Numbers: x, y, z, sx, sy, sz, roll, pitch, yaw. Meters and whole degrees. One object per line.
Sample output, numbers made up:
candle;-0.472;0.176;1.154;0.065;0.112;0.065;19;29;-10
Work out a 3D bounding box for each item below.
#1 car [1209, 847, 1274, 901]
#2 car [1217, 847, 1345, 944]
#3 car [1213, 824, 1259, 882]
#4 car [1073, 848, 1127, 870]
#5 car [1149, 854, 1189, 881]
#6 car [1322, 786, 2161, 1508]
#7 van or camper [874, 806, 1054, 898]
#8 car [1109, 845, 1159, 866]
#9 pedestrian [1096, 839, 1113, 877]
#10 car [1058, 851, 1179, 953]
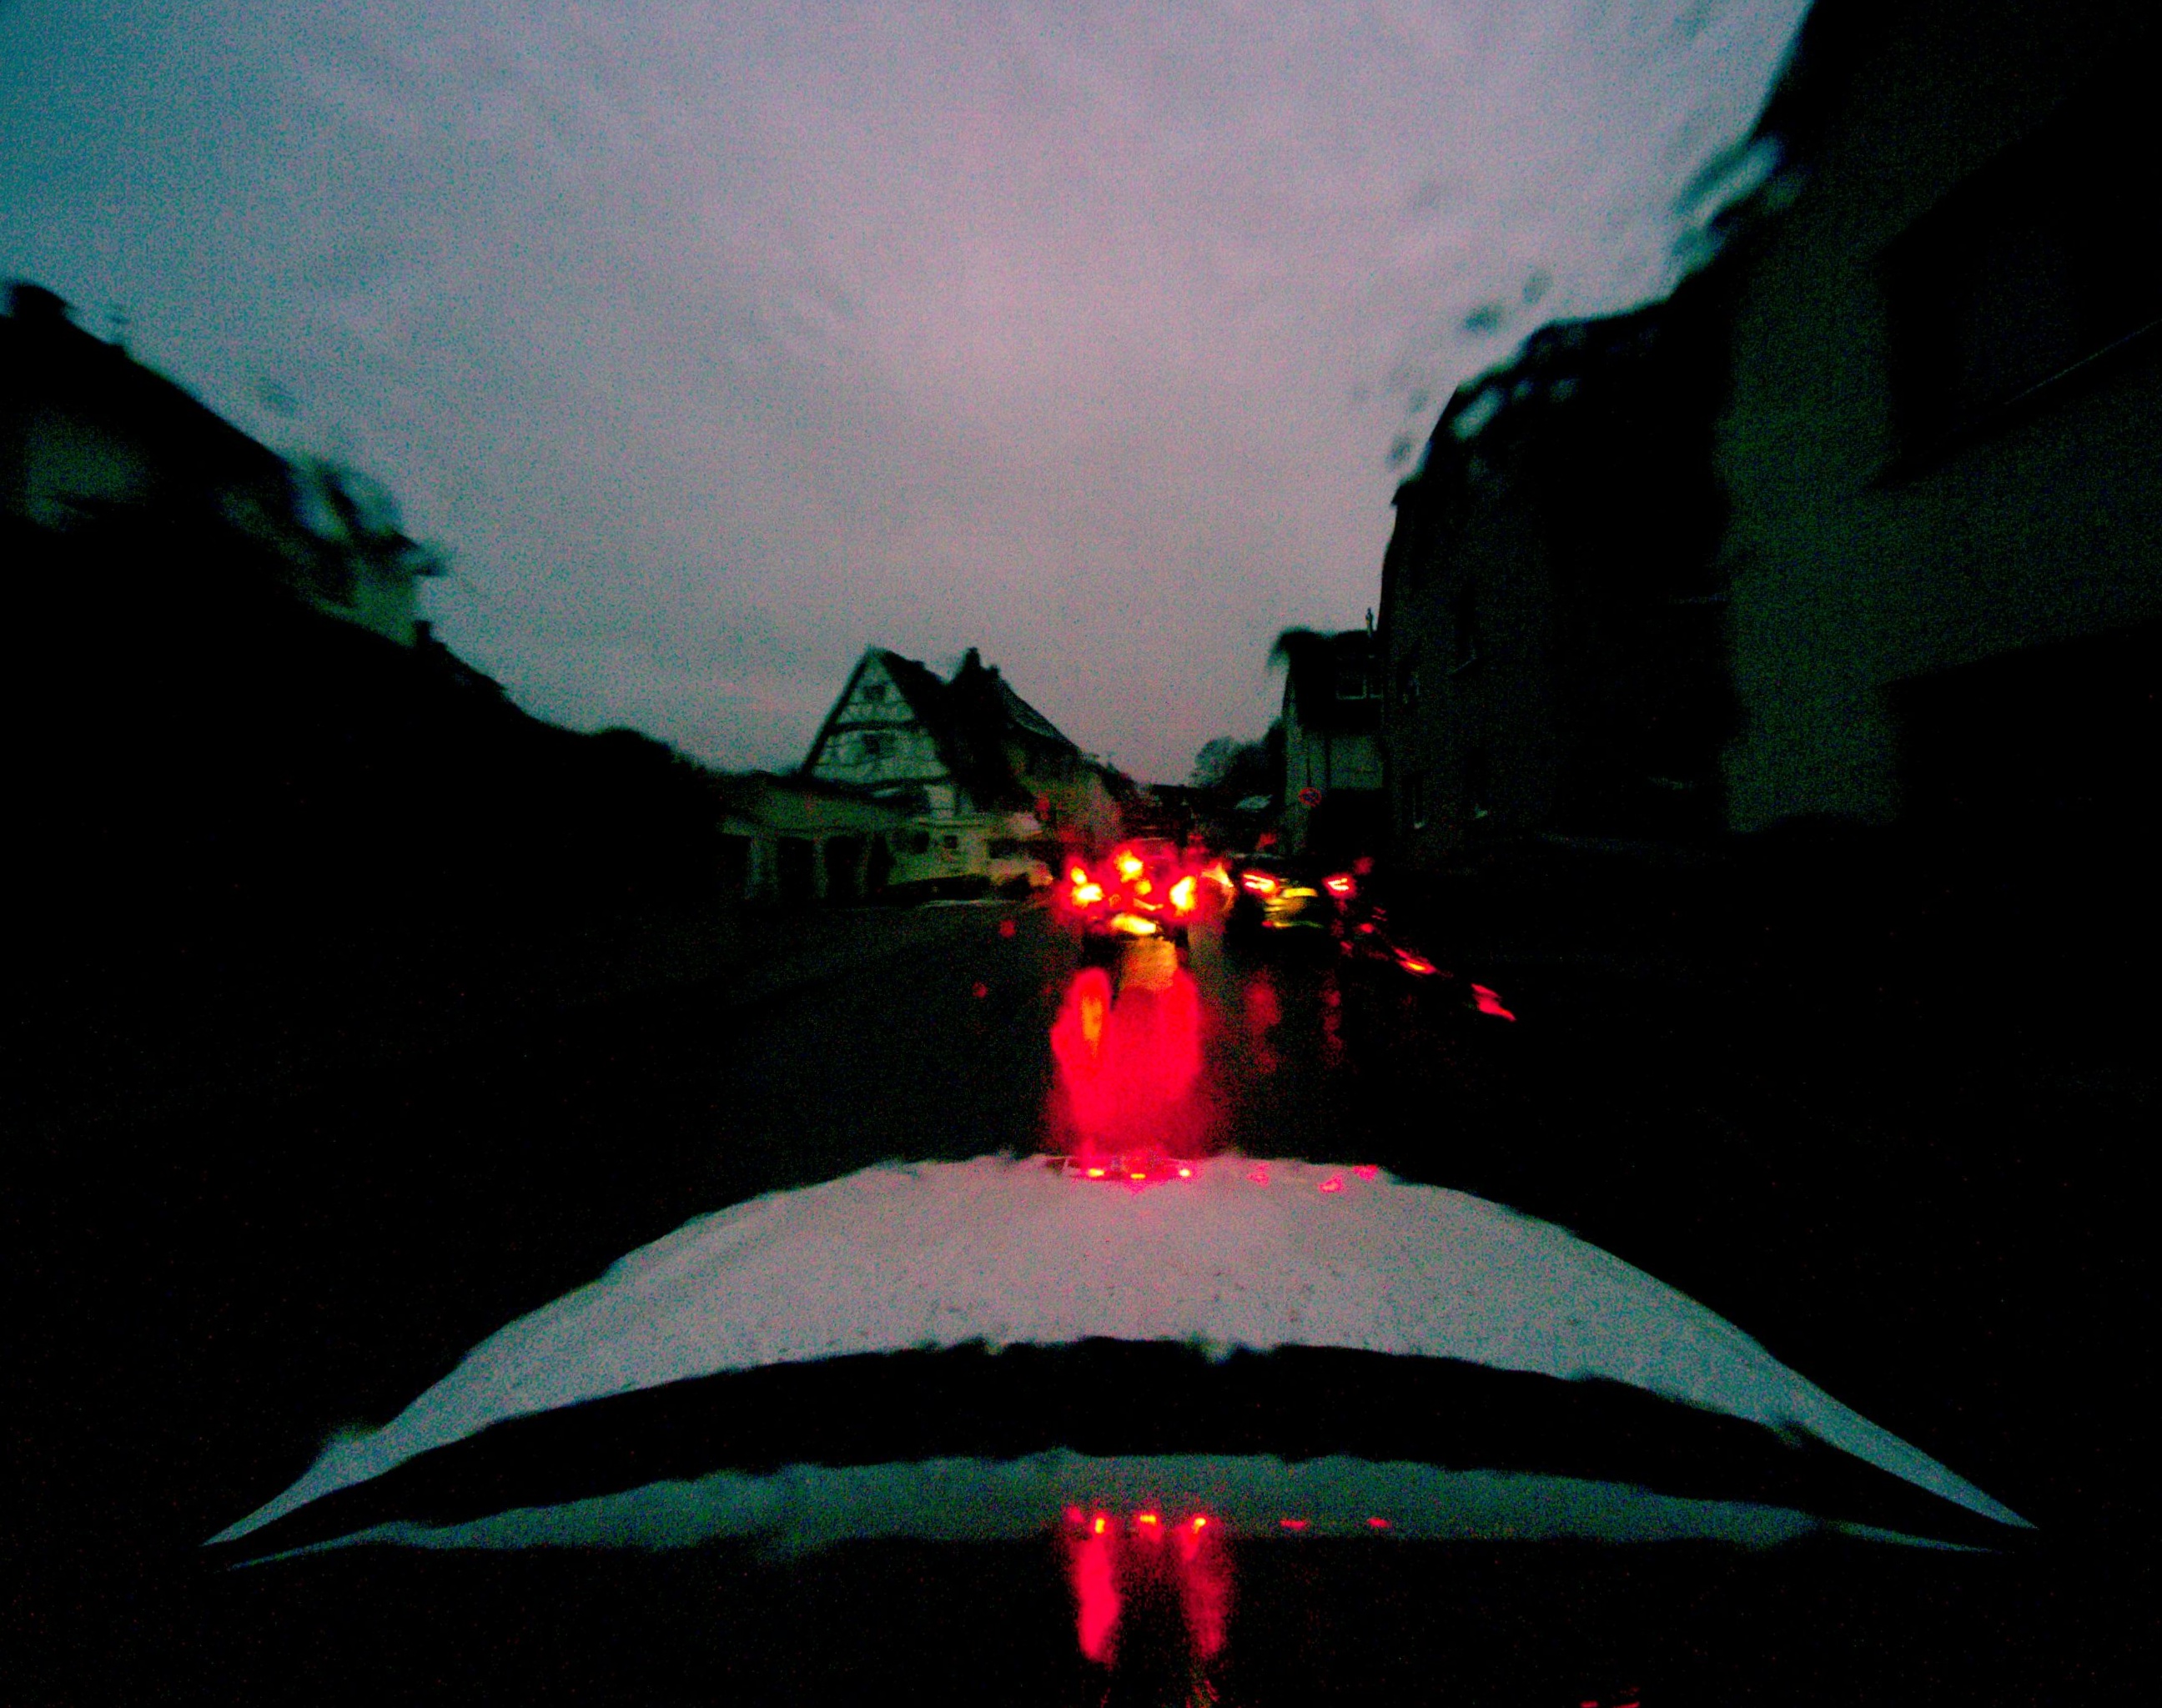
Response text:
car;4.899;0.566;25.316;1.715;1.507;3.759;-1;0;7
car;3.524;0.660;15.015;1.789;1.534;4.007;-1;0;6
car;6.832;-0.052;36.209;1.804;2.413;3.760;-1;0;8
car;1.353;0.348;57.015;3.483;1.507;1.698;-1;0;13
car;4.977;0.731;45.548;1.856;1.402;4.380;-1;0;11
car;2.590;0.658;4.013;1.839;1.637;4.341;0;0;4
van or camper;-4.341;-0.053;30.641;6.020;2.955;2.414;-4;0;12
car;3.865;0.091;59.274;3.488;1.507;1.696;-1;0;8
pedestrian;1.271;0.233;43.884;0.869;2.013;0.796;-1;0;6
car;0.777;0.703;14.054;1.786;1.476;4.008;0;0;7
